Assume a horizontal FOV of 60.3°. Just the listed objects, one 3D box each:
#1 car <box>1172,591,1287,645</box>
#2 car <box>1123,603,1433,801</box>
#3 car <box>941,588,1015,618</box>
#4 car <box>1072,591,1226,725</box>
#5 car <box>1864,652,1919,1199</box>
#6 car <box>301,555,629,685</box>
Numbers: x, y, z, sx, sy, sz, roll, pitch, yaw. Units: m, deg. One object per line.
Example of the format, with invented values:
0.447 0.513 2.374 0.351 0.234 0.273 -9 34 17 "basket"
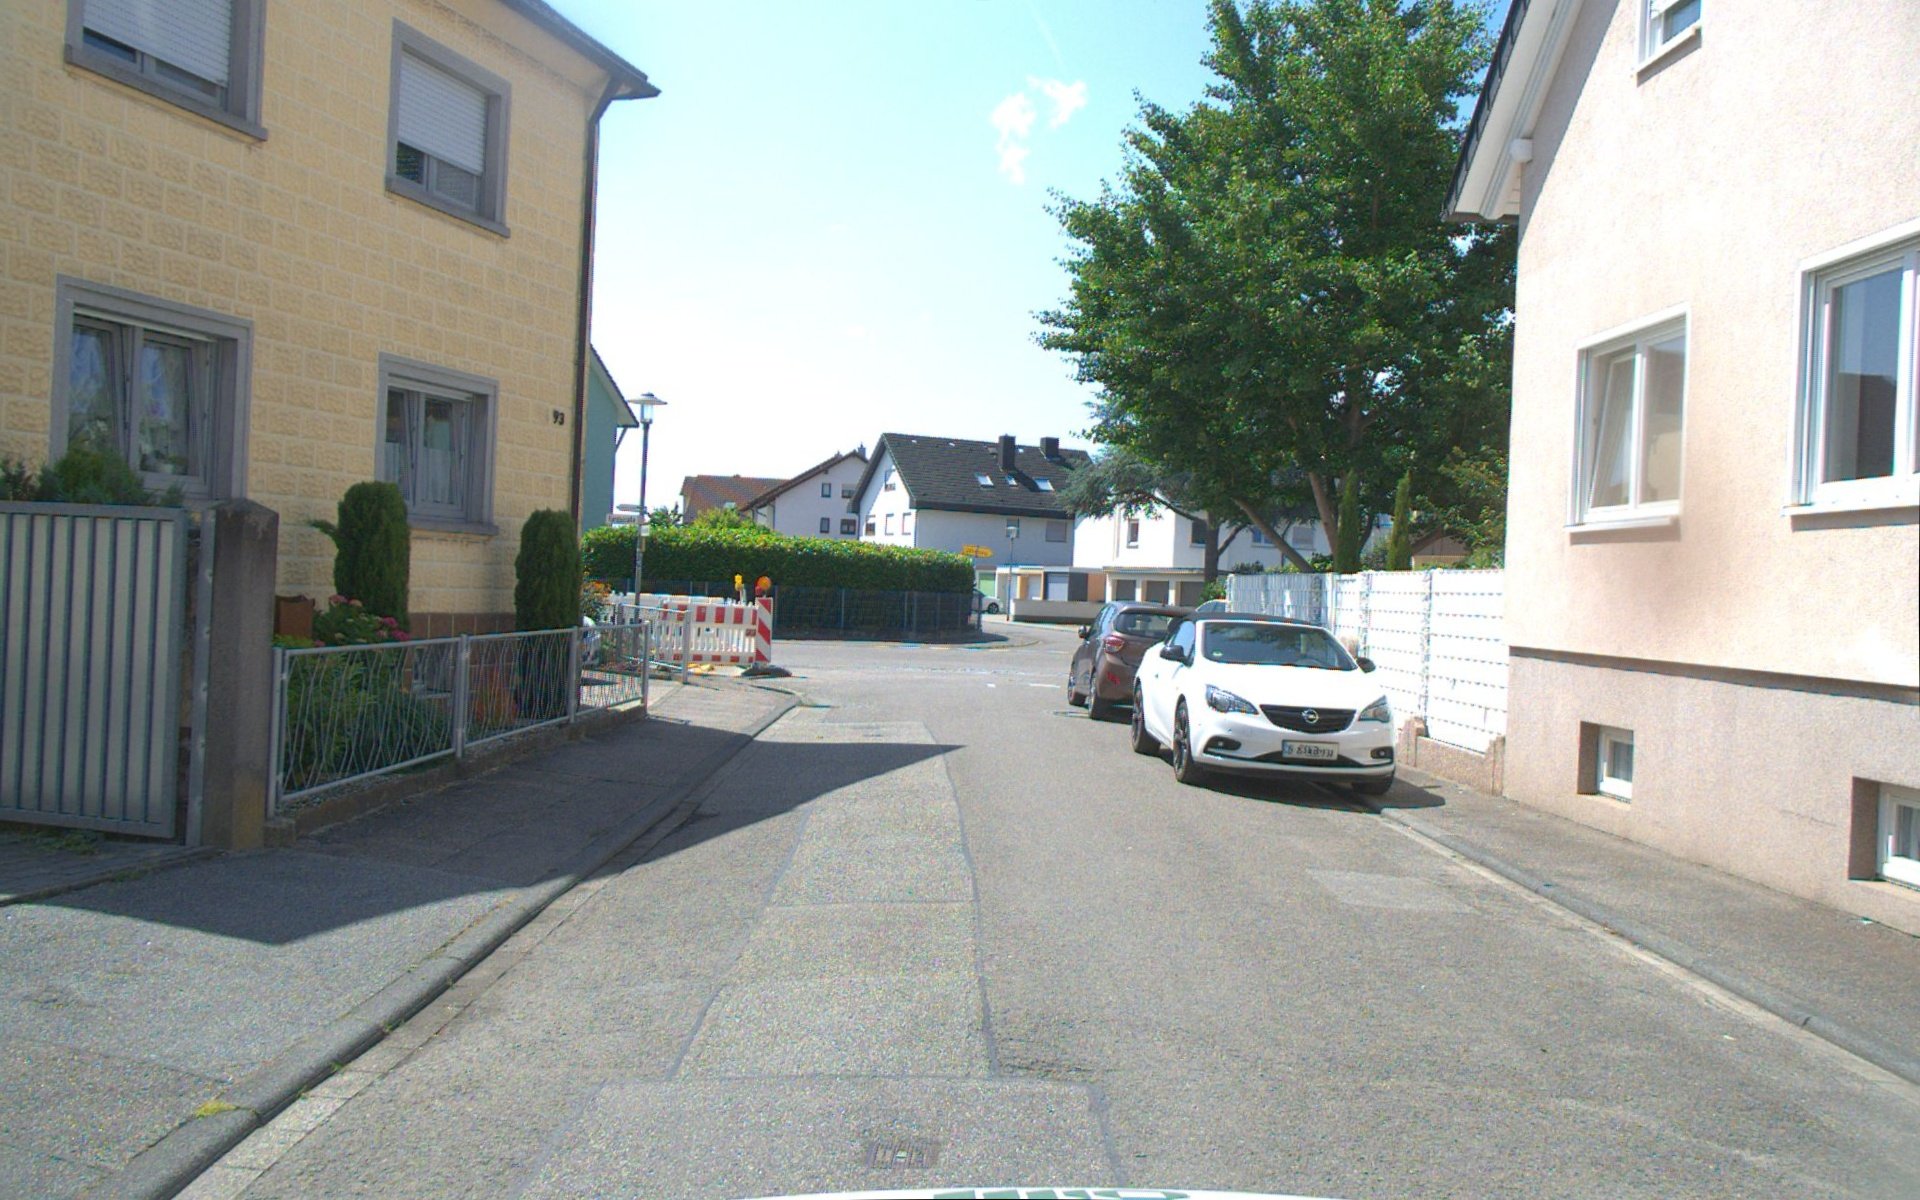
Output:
8.973 0.574 55.460 1.775 1.590 4.111 3 1 -25 "car"
2.769 0.818 15.547 1.857 1.453 4.736 3 0 -1 "car"
0.951 0.170 88.312 3.550 1.433 1.772 3 0 -23 "car"
2.464 0.706 22.397 1.677 1.559 4.036 3 0 2 "car"
3.147 0.881 1.657 1.857 1.389 4.737 3 0 0 "car"
-6.818 0.233 22.666 4.377 1.511 1.788 3 0 31 "car"
